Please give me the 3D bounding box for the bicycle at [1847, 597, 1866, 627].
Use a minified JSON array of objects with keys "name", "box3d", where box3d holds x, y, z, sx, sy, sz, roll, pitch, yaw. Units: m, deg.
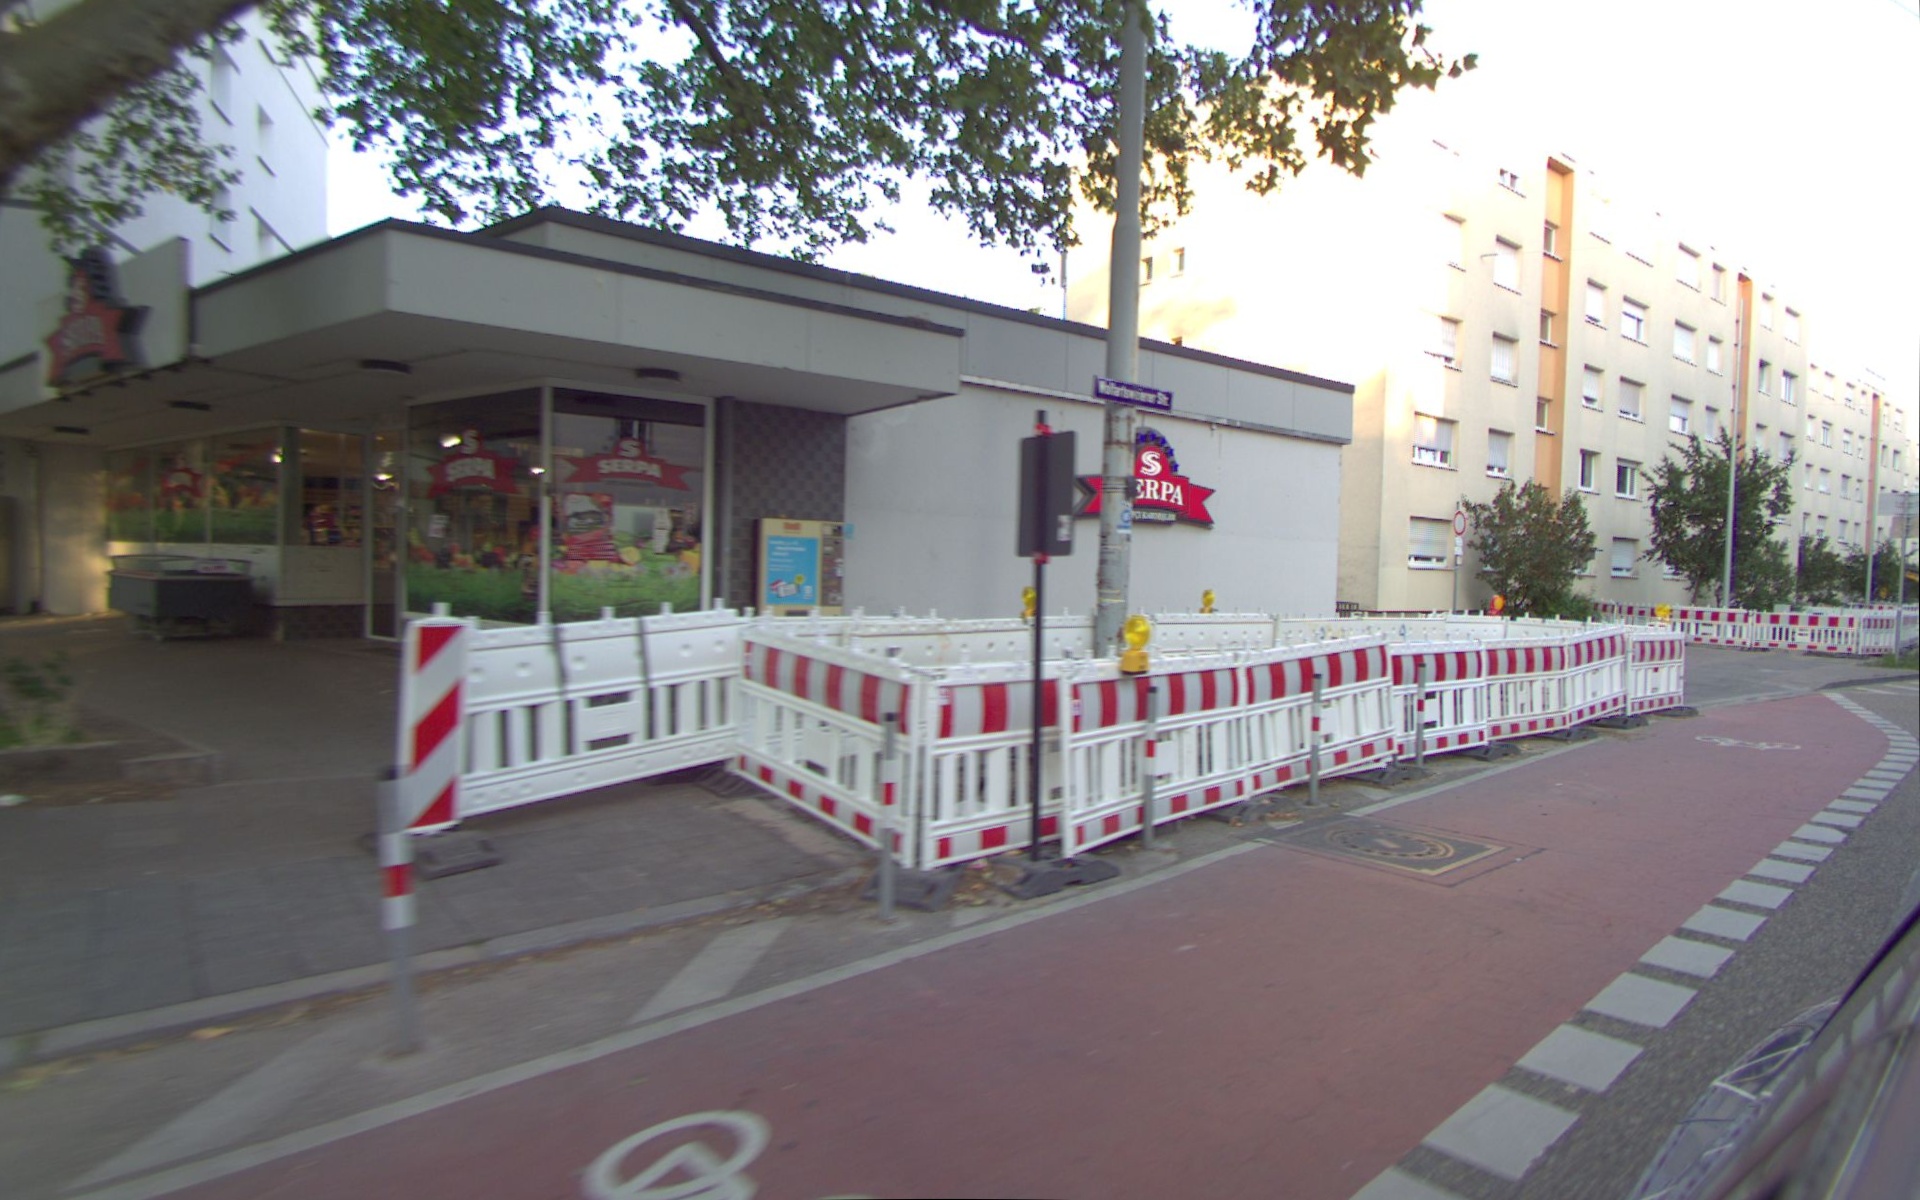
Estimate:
[{"name":"bicycle","box3d":[38.147,0.490,43.036,1.795,1.237,0.398,0,2,-43]}]
